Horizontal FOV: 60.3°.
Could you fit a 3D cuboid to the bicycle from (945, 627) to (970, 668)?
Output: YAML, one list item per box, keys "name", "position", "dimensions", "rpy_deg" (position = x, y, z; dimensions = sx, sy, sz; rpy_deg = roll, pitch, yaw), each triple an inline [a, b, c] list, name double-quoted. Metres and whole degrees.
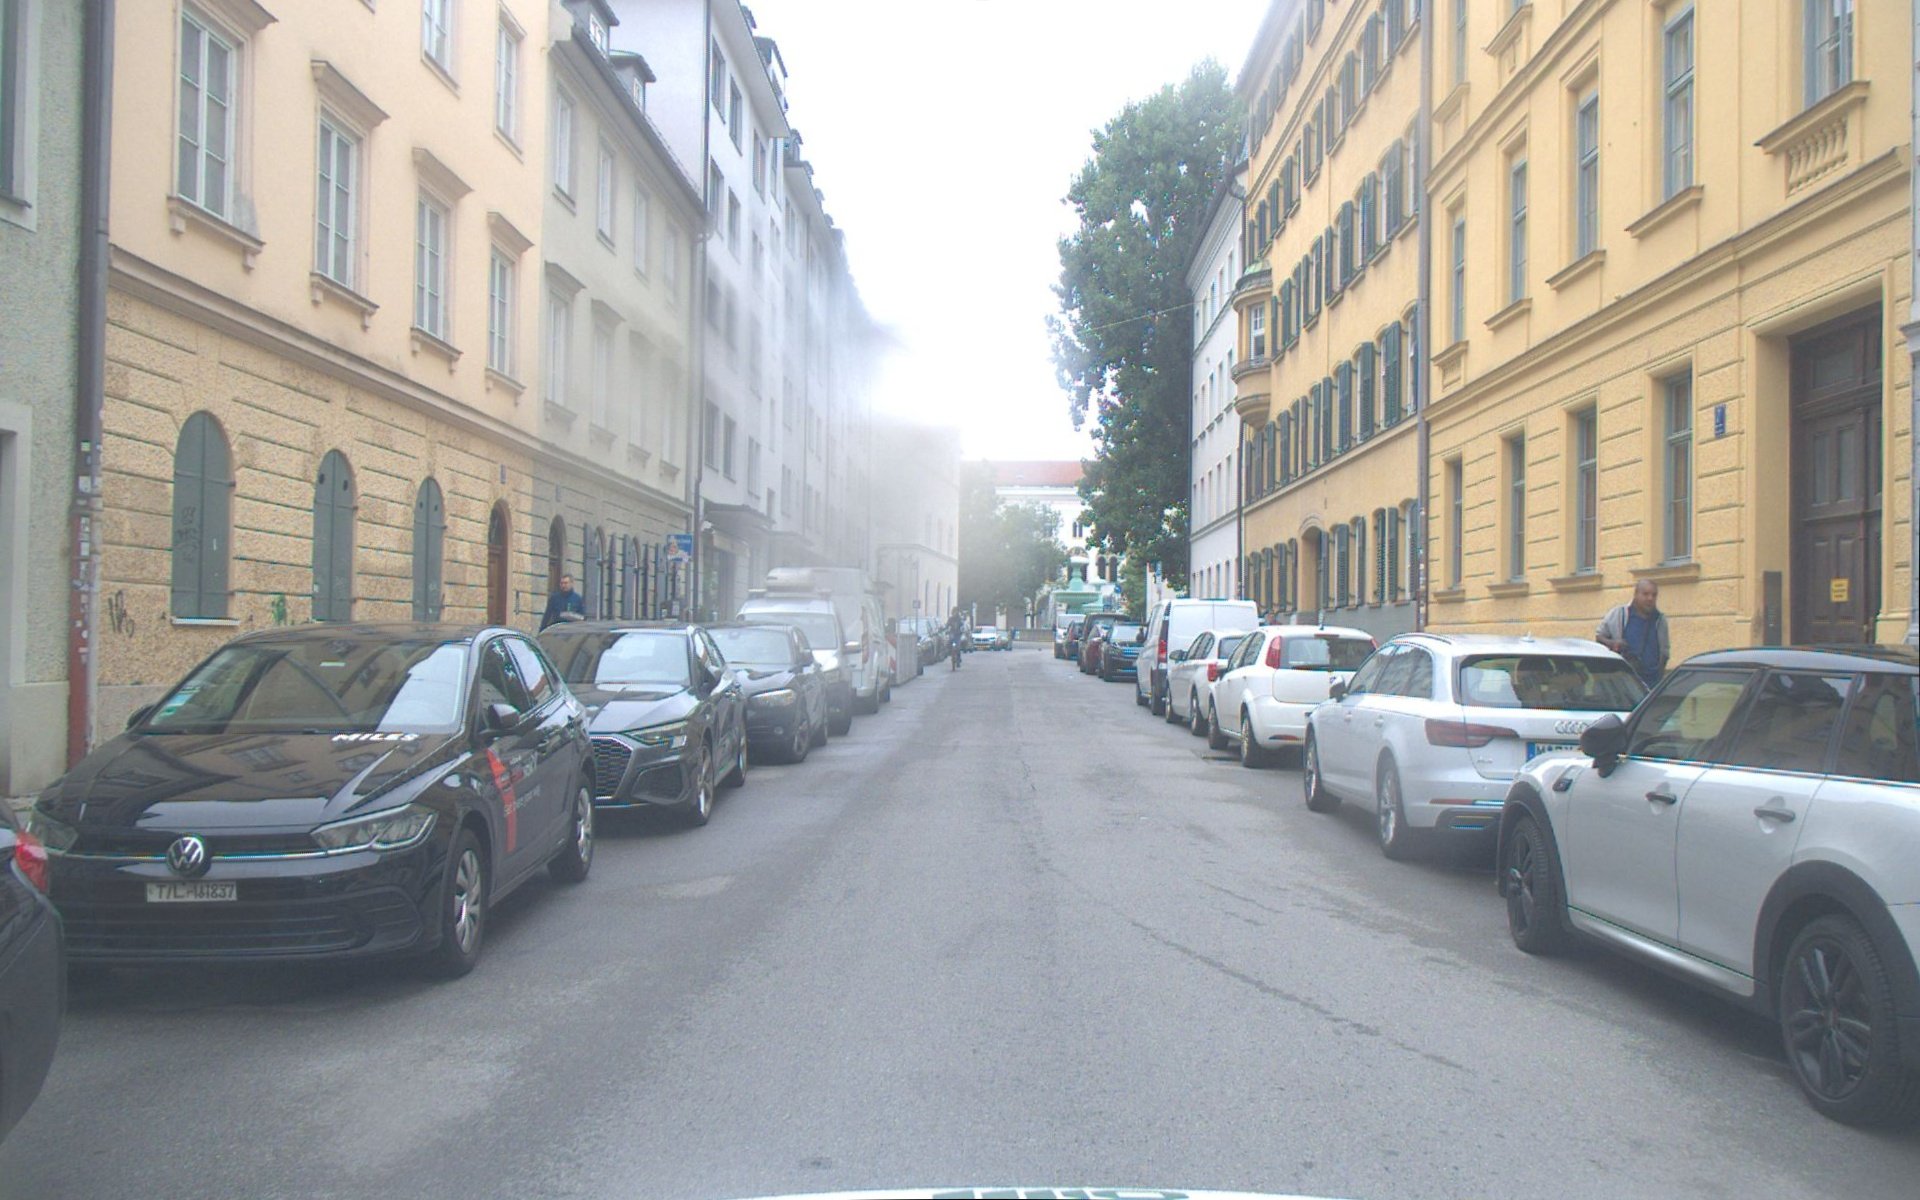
- name: "bicycle"
  position: [-0.067, 1.409, 49.292]
  dimensions: [0.717, 1.171, 1.999]
  rpy_deg: [1, -1, 0]

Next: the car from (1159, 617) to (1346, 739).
- name: "car"
  position: [3.997, 1.023, 23.329]
  dimensions: [1.779, 1.536, 4.586]
  rpy_deg: [1, -1, -1]

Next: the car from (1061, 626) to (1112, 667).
- name: "car"
  position: [5.281, 1.934, 69.555]
  dimensions: [1.771, 1.628, 4.214]
  rpy_deg: [2, -1, 0]

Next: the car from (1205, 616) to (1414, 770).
- name: "car"
  position: [3.815, 0.962, 18.615]
  dimensions: [1.590, 1.536, 3.761]
  rpy_deg: [1, -1, 1]

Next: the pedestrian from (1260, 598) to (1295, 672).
- name: "pedestrian"
  position: [7.365, 0.807, 38.408]
  dimensions: [0.584, 1.667, 0.896]
  rpy_deg: [-2, -1, -1]

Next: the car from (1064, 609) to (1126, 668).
- name: "car"
  position: [4.484, 1.301, 55.552]
  dimensions: [1.808, 1.807, 4.202]
  rpy_deg: [3, -1, 2]

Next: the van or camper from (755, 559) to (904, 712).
- name: "van or camper"
  position: [-2.138, 0.578, 28.659]
  dimensions: [1.952, 2.352, 5.479]
  rpy_deg: [1, 0, 2]

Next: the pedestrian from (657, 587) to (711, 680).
- name: "pedestrian"
  position: [-5.270, 0.628, 31.626]
  dimensions: [0.788, 1.742, 1.022]
  rpy_deg: [1, -1, 3]

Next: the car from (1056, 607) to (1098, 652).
- name: "car"
  position: [5.330, 1.365, 75.493]
  dimensions: [1.842, 1.958, 4.876]
  rpy_deg: [1, -1, 4]

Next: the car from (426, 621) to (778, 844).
- name: "car"
  position: [-2.600, 0.902, 13.059]
  dimensions: [1.819, 1.426, 4.269]
  rpy_deg: [1, -1, 0]

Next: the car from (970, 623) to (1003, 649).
- name: "car"
  position: [1.692, 2.285, 104.873]
  dimensions: [1.740, 1.562, 4.214]
  rpy_deg: [-1, -2, 6]

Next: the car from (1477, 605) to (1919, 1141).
- name: "car"
  position: [3.534, 0.809, 6.460]
  dimensions: [1.682, 1.536, 3.934]
  rpy_deg: [1, -1, -2]

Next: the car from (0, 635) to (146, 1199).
- name: "car"
  position: [-3.005, 0.759, 2.006]
  dimensions: [1.819, 1.426, 4.269]
  rpy_deg: [1, -1, 1]

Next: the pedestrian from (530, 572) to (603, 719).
- name: "pedestrian"
  position: [-5.575, 0.637, 23.469]
  dimensions: [0.788, 2.049, 0.750]
  rpy_deg: [1, -1, 3]

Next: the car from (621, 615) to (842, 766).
- name: "car"
  position: [-2.378, 0.907, 18.231]
  dimensions: [1.819, 1.426, 4.269]
  rpy_deg: [1, -1, 0]

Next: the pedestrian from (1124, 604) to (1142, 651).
- name: "pedestrian"
  position: [8.325, 1.318, 79.665]
  dimensions: [0.777, 2.236, 0.814]
  rpy_deg: [1, -1, 1]

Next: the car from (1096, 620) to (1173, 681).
- name: "car"
  position: [4.514, 1.277, 43.226]
  dimensions: [1.709, 1.490, 4.000]
  rpy_deg: [1, -1, 2]

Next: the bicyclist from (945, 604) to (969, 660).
- name: "bicyclist"
  position: [-0.073, 0.946, 49.461]
  dimensions: [0.672, 1.656, 0.853]
  rpy_deg: [1, -1, 0]

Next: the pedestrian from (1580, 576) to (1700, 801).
- name: "pedestrian"
  position: [5.915, 0.753, 14.420]
  dimensions: [0.687, 1.895, 0.805]
  rpy_deg: [1, -1, -1]

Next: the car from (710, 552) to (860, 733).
- name: "car"
  position: [-2.354, 0.558, 23.093]
  dimensions: [1.821, 2.240, 4.557]
  rpy_deg: [1, -1, -4]

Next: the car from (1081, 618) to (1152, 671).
- name: "car"
  position: [4.567, 1.293, 48.752]
  dimensions: [1.678, 1.449, 4.457]
  rpy_deg: [1, -1, 0]

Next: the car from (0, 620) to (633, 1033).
- name: "car"
  position: [-2.869, 0.835, 8.012]
  dimensions: [1.820, 1.426, 4.267]
  rpy_deg: [1, -1, -2]

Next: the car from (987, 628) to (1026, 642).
- name: "car"
  position: [4.892, 3.642, 173.821]
  dimensions: [3.902, 1.400, 2.001]
  rpy_deg: [1, -1, 5]

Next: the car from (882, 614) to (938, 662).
- name: "car"
  position: [-1.689, 1.272, 57.020]
  dimensions: [1.737, 1.566, 4.159]
  rpy_deg: [-1, 0, 1]

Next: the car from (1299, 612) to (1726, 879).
- name: "car"
  position: [3.682, 0.874, 11.890]
  dimensions: [1.681, 1.536, 4.469]
  rpy_deg: [1, -1, 1]

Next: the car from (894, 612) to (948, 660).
- name: "car"
  position: [-1.444, 1.317, 62.596]
  dimensions: [1.833, 1.718, 4.520]
  rpy_deg: [-1, 0, 1]

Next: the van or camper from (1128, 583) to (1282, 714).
- name: "van or camper"
  position: [4.147, 0.789, 28.786]
  dimensions: [1.952, 2.049, 5.233]
  rpy_deg: [1, -1, 1]
